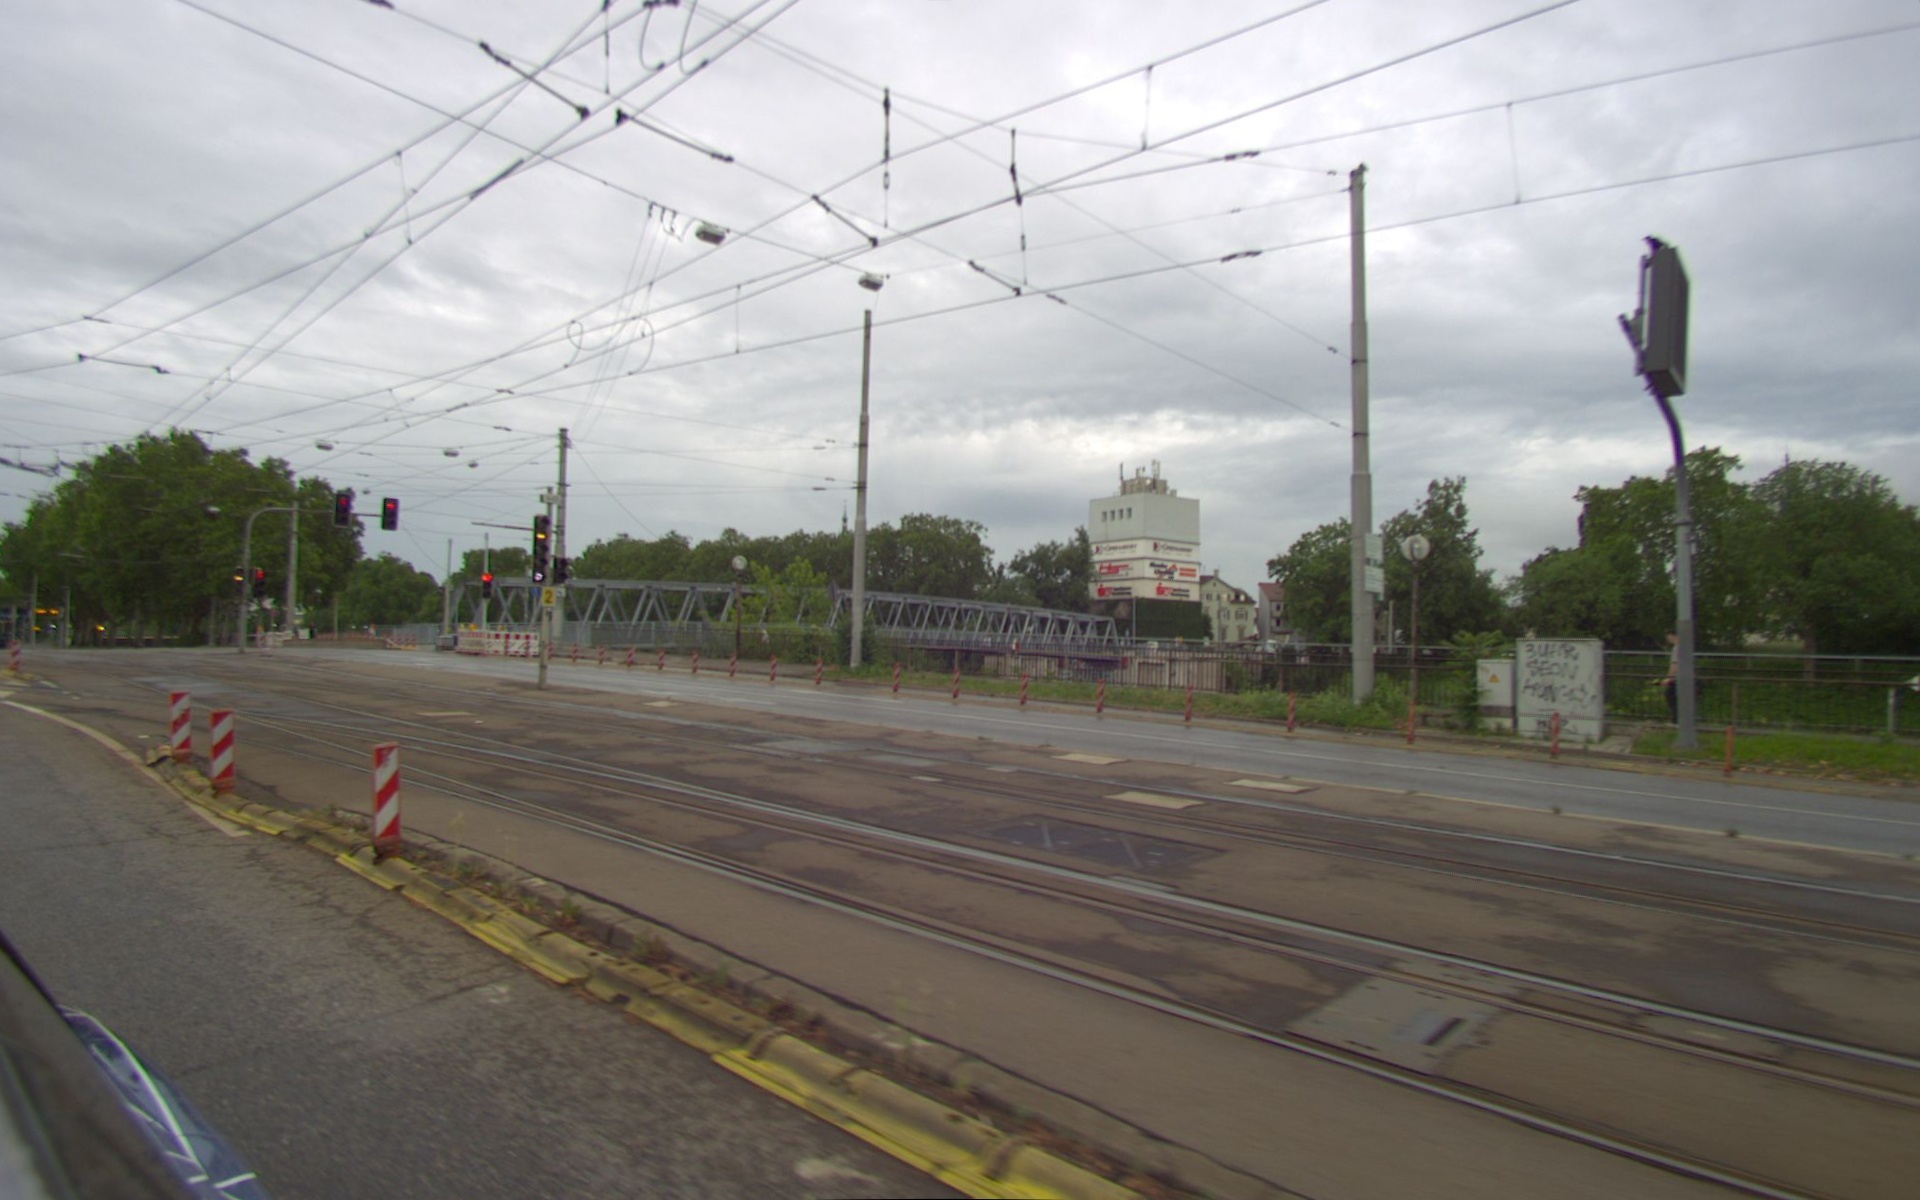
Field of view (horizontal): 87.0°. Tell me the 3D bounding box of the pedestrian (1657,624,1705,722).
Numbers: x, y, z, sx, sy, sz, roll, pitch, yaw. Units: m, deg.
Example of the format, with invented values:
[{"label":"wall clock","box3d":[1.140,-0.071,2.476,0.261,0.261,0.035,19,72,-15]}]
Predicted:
[{"label":"pedestrian","box3d":[12.867,1.292,18.057,0.618,1.701,0.756,-1,-3,41]}]
